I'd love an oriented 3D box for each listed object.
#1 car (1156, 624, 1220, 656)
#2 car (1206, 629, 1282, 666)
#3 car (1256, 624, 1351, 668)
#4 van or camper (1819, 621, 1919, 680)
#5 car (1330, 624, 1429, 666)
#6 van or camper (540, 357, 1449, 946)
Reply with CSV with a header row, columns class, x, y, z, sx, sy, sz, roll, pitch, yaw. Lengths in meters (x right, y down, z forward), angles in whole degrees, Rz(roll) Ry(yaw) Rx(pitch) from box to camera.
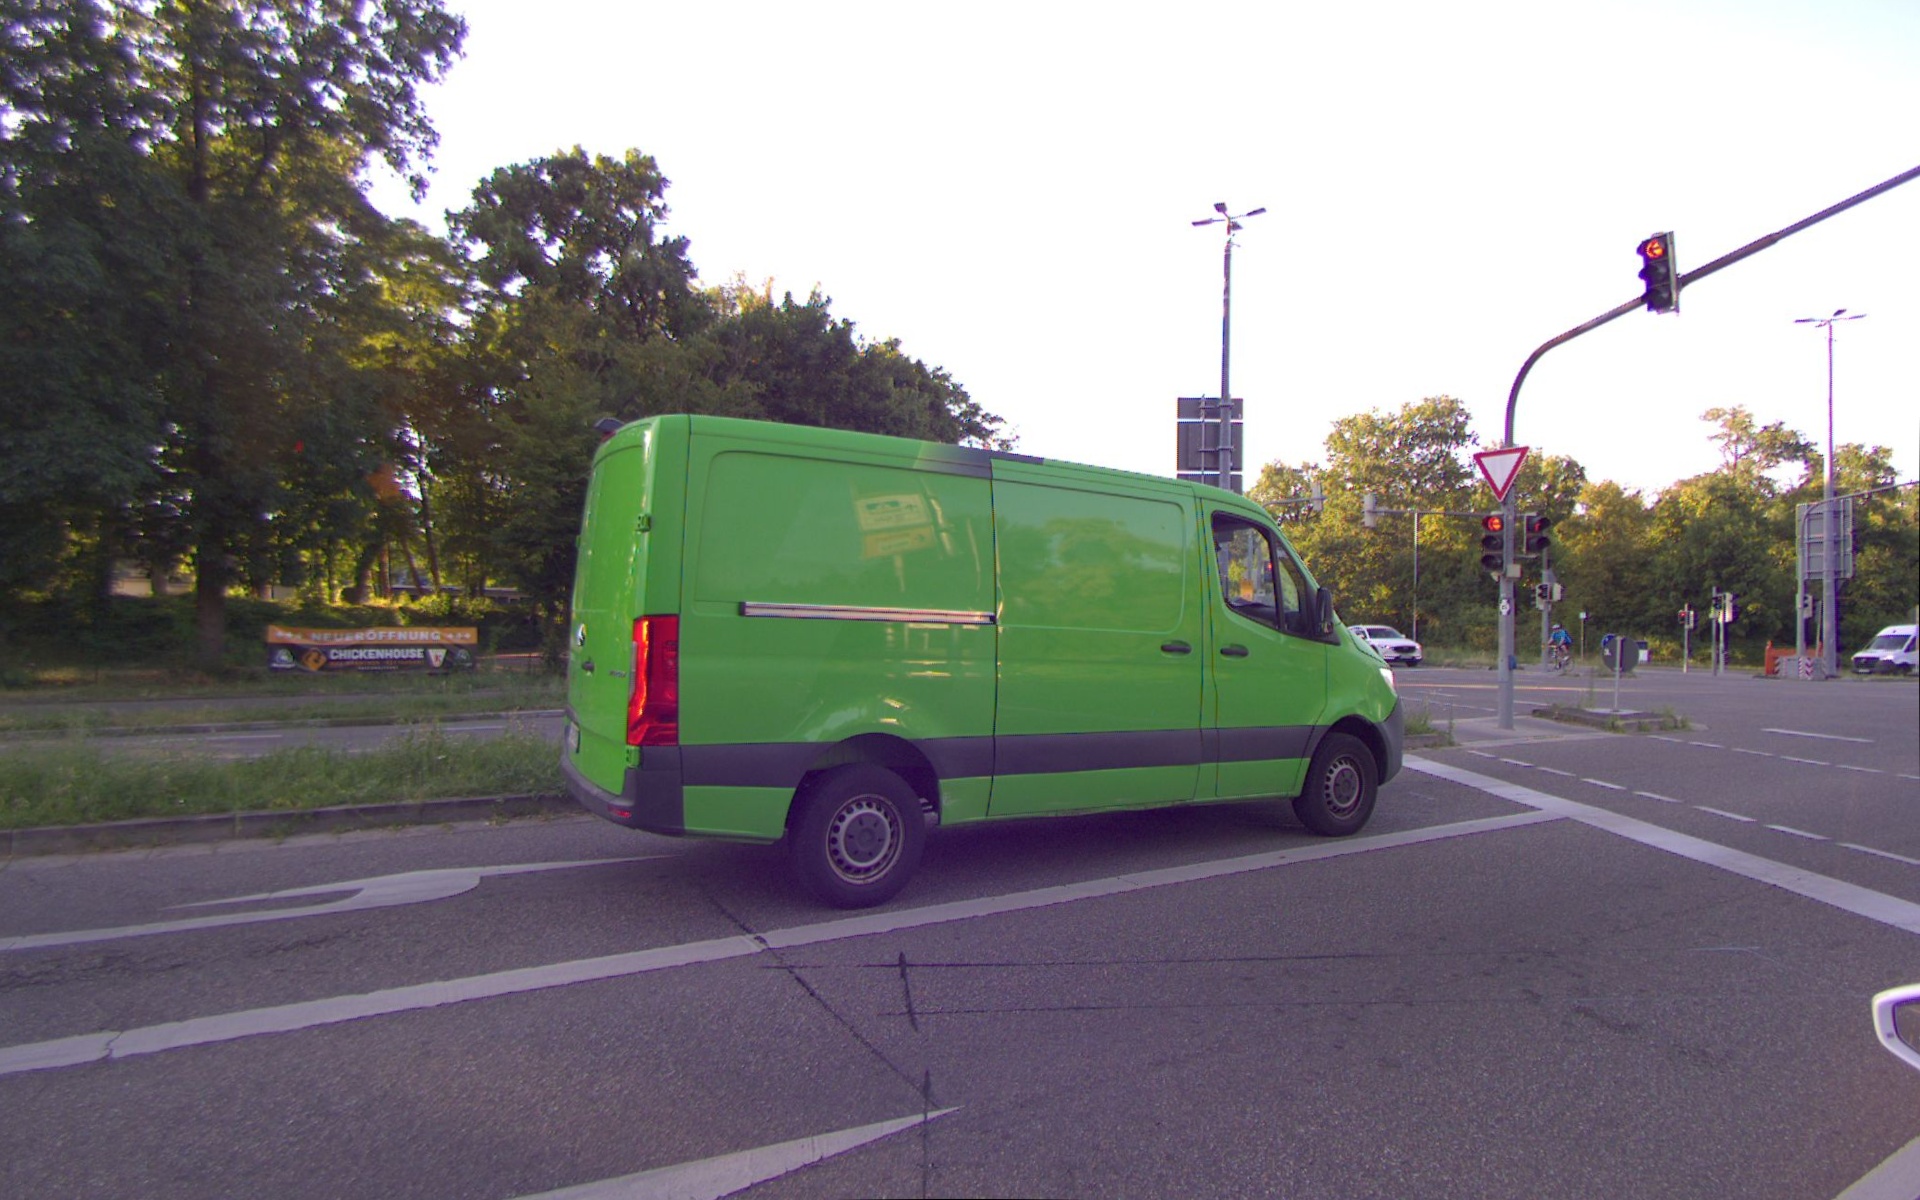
class,x,y,z,sx,sy,sz,roll,pitch,yaw
car,12.695,2.216,56.206,1.964,1.661,4.250,1,-1,-10
car,13.507,2.226,48.053,1.963,1.661,4.252,1,-1,-8
car,13.817,1.814,40.705,1.963,1.661,4.252,1,-1,-8
van or camper,45.111,2.388,47.556,6.991,2.687,2.891,1,-1,-8
car,17.504,1.848,42.111,1.963,1.661,4.252,1,-1,-8
van or camper,0.544,0.292,6.572,5.830,2.453,1.983,2,-1,-32
